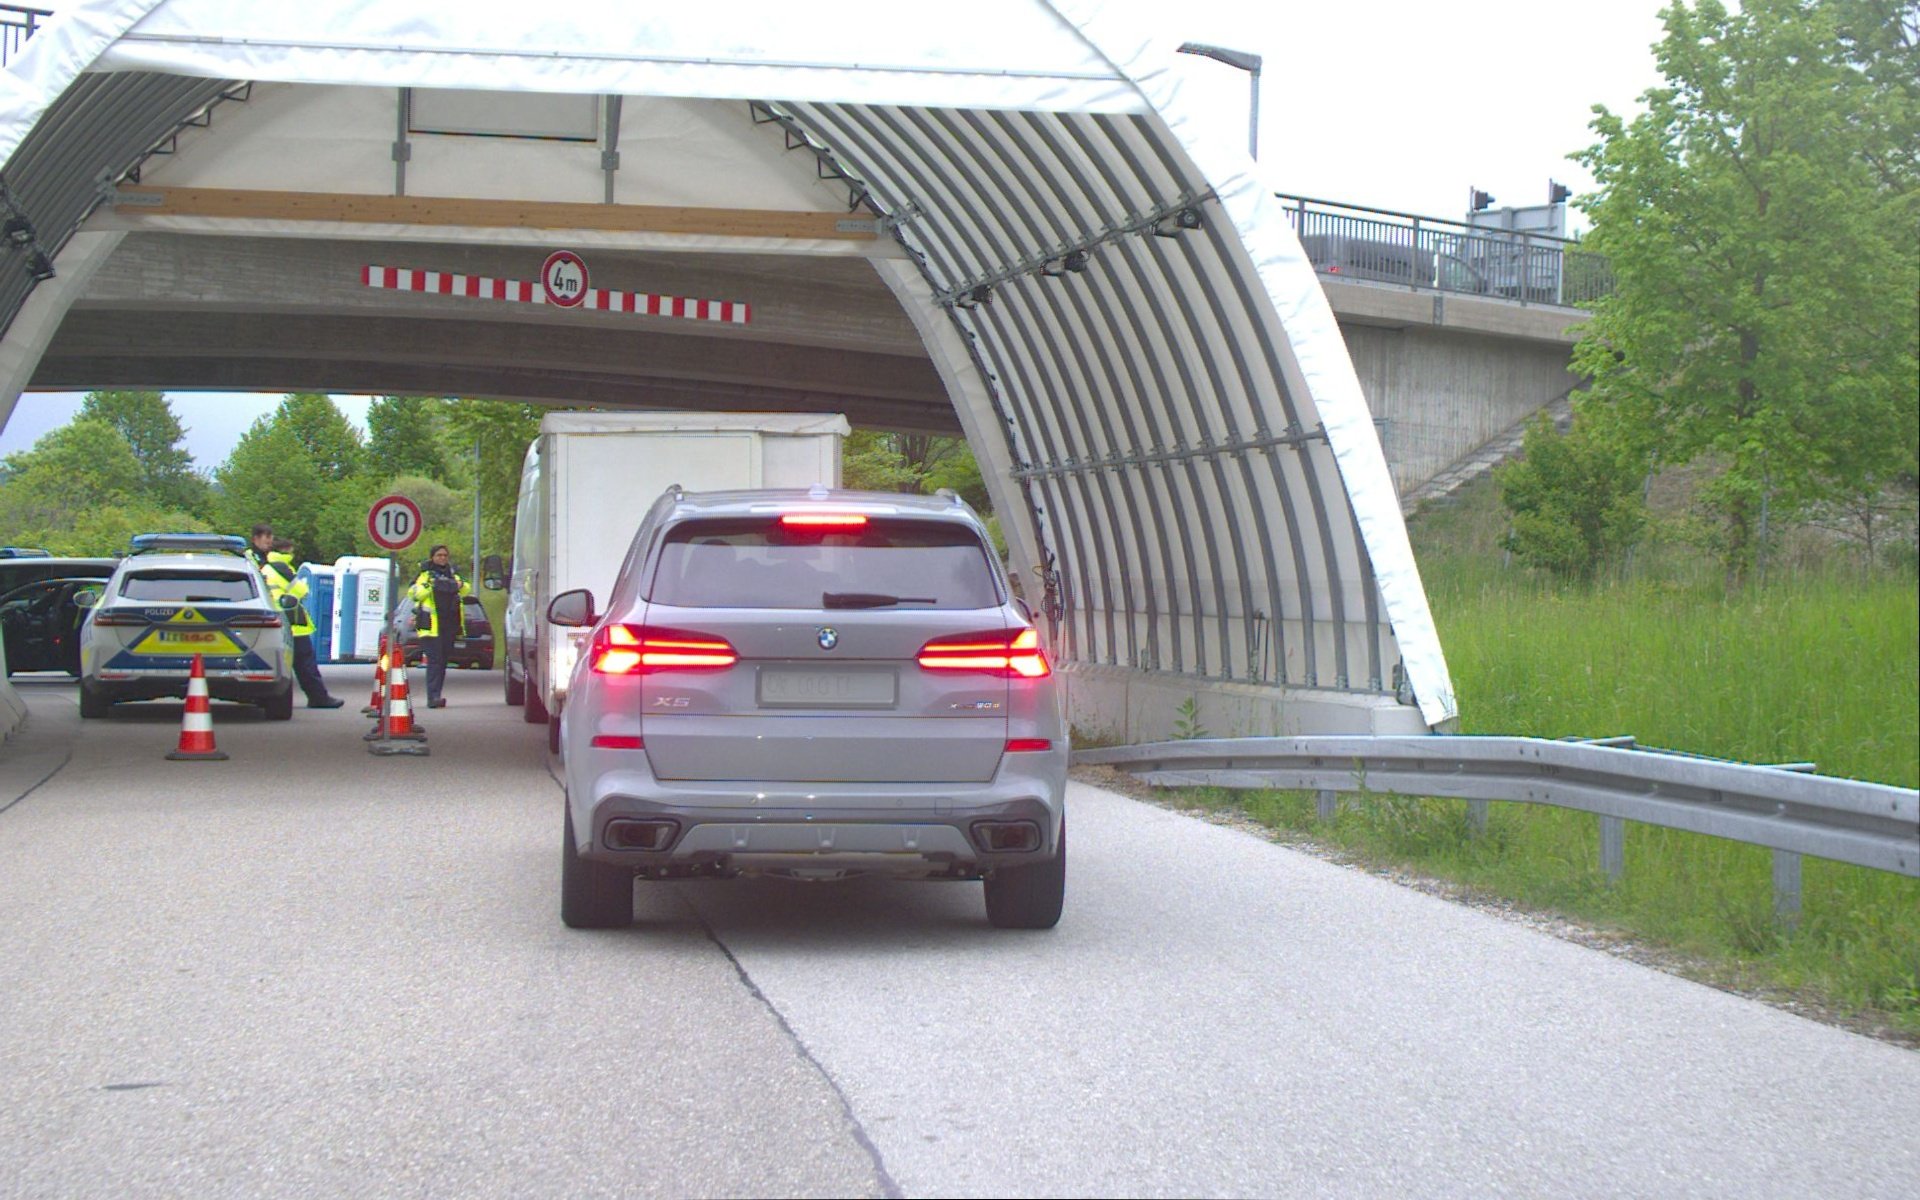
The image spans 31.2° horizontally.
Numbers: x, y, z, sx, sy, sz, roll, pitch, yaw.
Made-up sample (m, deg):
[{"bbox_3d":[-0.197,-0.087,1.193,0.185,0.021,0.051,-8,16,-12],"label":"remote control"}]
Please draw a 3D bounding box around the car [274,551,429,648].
[{"bbox_3d":[-13.021,-0.021,73.425,1.993,2.007,4.000,0,0,-30],"label":"car"}]

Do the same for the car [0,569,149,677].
[{"bbox_3d":[-12.620,0.300,47.602,1.515,1.437,3.315,0,1,-37],"label":"car"}]

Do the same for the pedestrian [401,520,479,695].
[{"bbox_3d":[-5.308,0.073,35.108,0.604,1.769,0.650,0,0,11],"label":"pedestrian"}]

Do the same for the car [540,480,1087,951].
[{"bbox_3d":[-0.659,0.419,14.563,1.993,1.714,4.000,0,0,-4],"label":"car"}]

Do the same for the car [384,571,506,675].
[{"bbox_3d":[-9.595,0.396,63.861,1.703,1.848,4.001,-1,1,-16],"label":"car"}]

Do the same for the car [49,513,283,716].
[{"bbox_3d":[-7.342,0.107,32.049,1.993,1.766,3.766,0,0,-11],"label":"car"}]

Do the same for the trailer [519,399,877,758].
[{"bbox_3d":[-2.208,-0.128,26.761,2.278,2.422,6.819,0,0,-9],"label":"trailer"}]

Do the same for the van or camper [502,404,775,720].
[{"bbox_3d":[-3.193,-0.314,32.993,2.156,2.754,5.872,0,0,-10],"label":"van or camper"}]

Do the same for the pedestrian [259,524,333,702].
[{"bbox_3d":[-6.670,0.127,34.548,0.720,1.769,0.690,0,0,-11],"label":"pedestrian"}]

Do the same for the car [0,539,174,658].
[{"bbox_3d":[-14.694,-0.025,54.550,3.987,1.848,1.709,0,0,5],"label":"car"}]

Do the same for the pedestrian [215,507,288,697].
[{"bbox_3d":[-7.298,0.017,35.451,0.720,1.939,0.690,0,0,-11],"label":"pedestrian"}]
